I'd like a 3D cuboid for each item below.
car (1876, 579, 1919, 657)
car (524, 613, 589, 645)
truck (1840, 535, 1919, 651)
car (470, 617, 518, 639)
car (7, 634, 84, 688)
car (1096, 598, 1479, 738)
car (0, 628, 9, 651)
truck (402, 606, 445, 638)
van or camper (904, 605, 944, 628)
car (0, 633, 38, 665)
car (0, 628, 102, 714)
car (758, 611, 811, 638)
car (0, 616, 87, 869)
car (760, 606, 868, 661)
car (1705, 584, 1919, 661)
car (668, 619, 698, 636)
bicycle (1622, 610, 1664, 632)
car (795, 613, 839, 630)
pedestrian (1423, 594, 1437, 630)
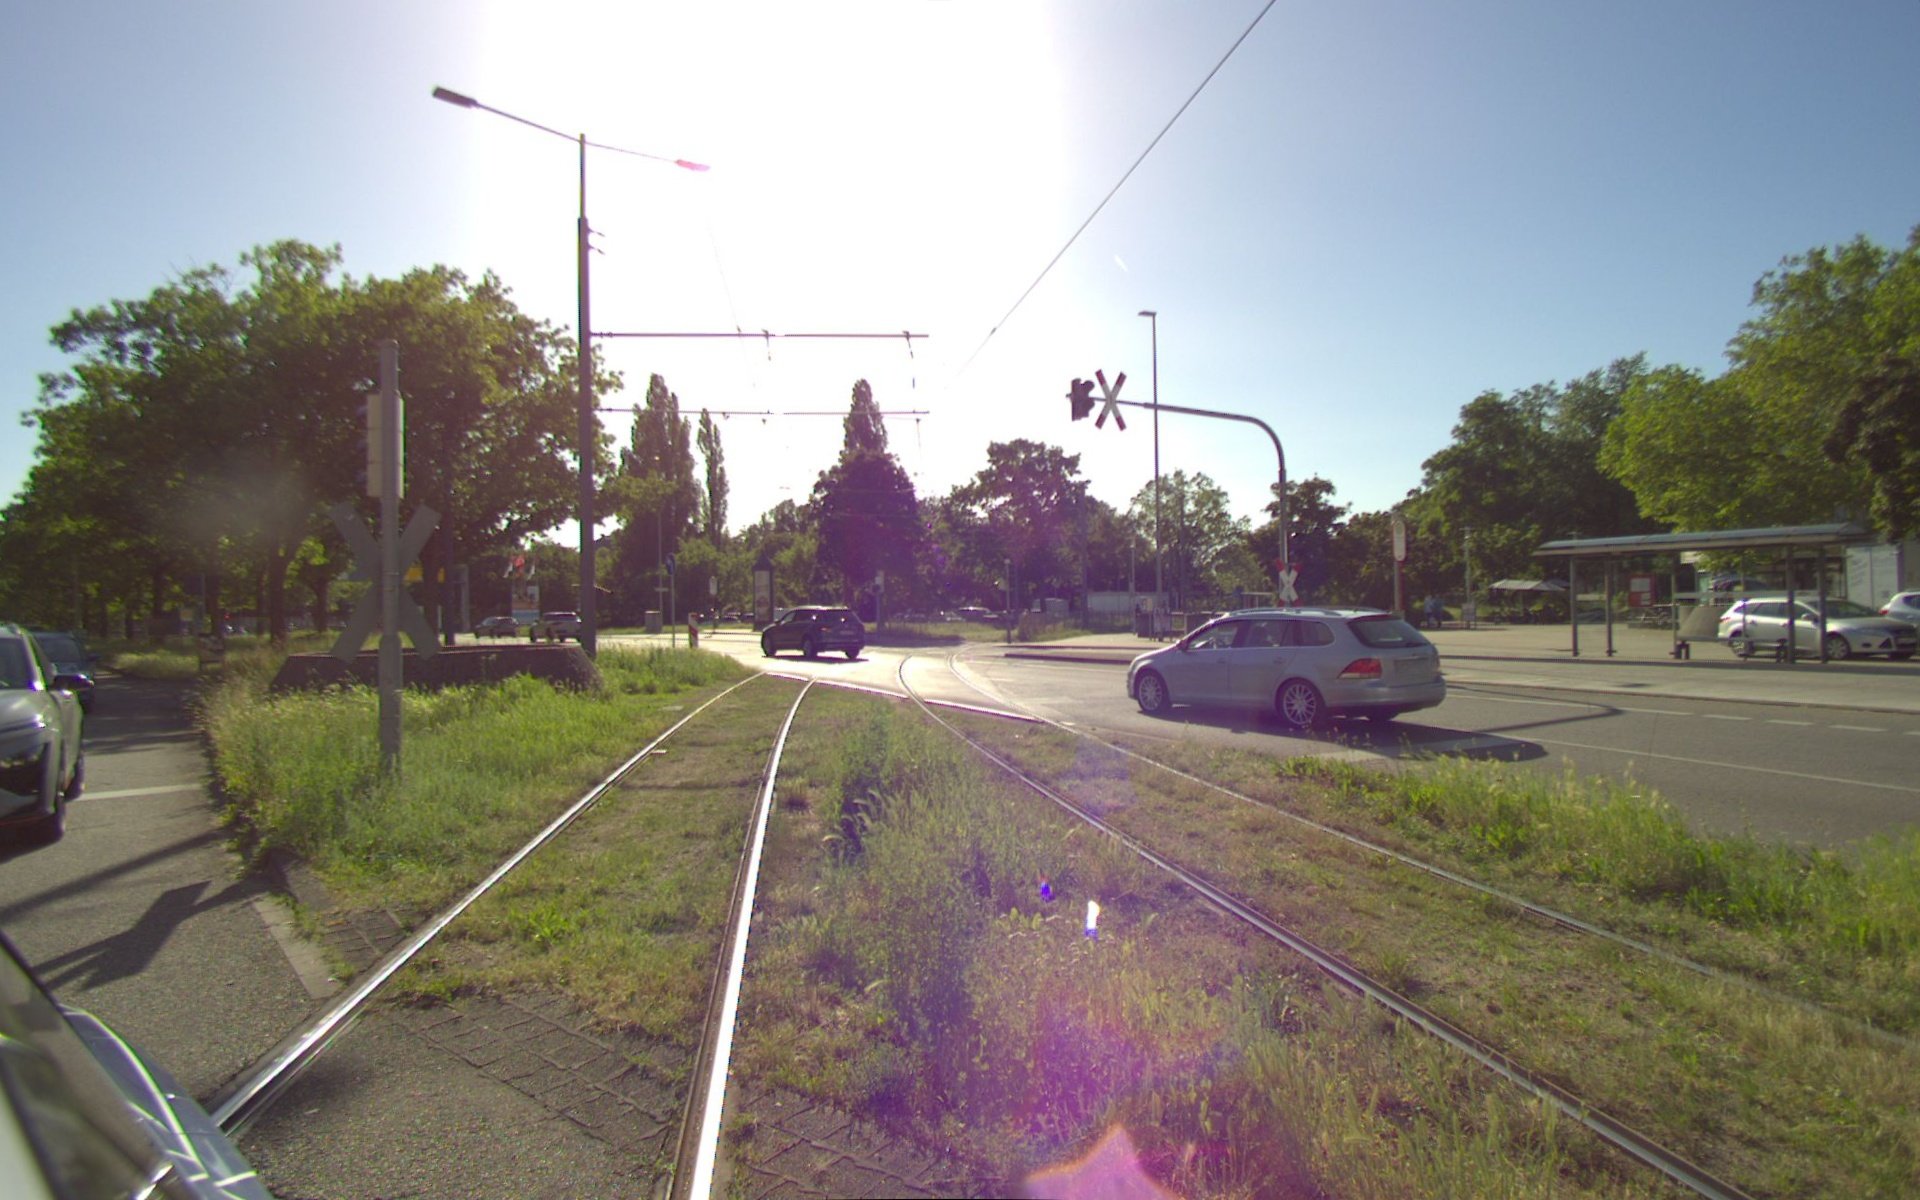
[{"bbox_3d":[23.343,0.353,22.466,1.734,1.730,4.012,-4,0,-19],"label":"car"},{"bbox_3d":[-21.218,1.519,53.152,1.968,1.574,4.395,-1,-1,-38],"label":"car"},{"bbox_3d":[27.106,-0.255,27.399,4.757,3.017,2.002,-2,-1,-3],"label":"truck"},{"bbox_3d":[-32.892,1.965,71.388,4.404,1.459,1.644,-2,-1,45],"label":"car"},{"bbox_3d":[-28.305,1.831,31.417,1.653,1.519,3.954,-1,-1,-41],"label":"car"},{"bbox_3d":[4.073,0.790,13.545,1.705,1.453,4.897,-3,0,-31],"label":"car"},{"bbox_3d":[-68.130,2.838,71.045,1.719,1.560,4.006,-3,0,-41],"label":"car"},{"bbox_3d":[-42.932,1.784,80.940,4.111,2.445,1.768,-2,-1,44],"label":"truck"},{"bbox_3d":[-3.473,1.567,96.024,1.966,2.112,4.415,-1,-1,-30],"label":"van or camper"},{"bbox_3d":[-45.463,2.341,48.589,1.756,1.416,4.004,-1,-1,-43],"label":"car"},{"bbox_3d":[-18.694,1.385,20.700,1.719,1.560,4.006,-1,-1,-41],"label":"car"},{"bbox_3d":[-14.402,2.008,83.488,2.221,2.029,4.970,-2,-1,18],"label":"car"},{"bbox_3d":[-7.697,0.939,7.428,1.753,1.563,3.988,-1,-1,-38],"label":"car"},{"bbox_3d":[-4.878,1.071,33.272,1.729,1.626,4.736,-1,-1,-32],"label":"car"},{"bbox_3d":[20.572,0.484,24.220,1.845,1.555,4.552,-4,0,-3],"label":"car"},{"bbox_3d":[-24.644,2.402,89.893,1.790,1.459,4.013,-1,-1,-27],"label":"car"},{"bbox_3d":[27.203,0.823,40.339,0.540,0.845,1.685,-1,-1,1],"label":"bicycle"},{"bbox_3d":[-11.572,1.712,81.950,1.984,1.292,3.976,-1,0,18],"label":"car"},{"bbox_3d":[24.254,0.633,52.193,0.557,1.843,0.720,-2,-1,30],"label":"pedestrian"}]
